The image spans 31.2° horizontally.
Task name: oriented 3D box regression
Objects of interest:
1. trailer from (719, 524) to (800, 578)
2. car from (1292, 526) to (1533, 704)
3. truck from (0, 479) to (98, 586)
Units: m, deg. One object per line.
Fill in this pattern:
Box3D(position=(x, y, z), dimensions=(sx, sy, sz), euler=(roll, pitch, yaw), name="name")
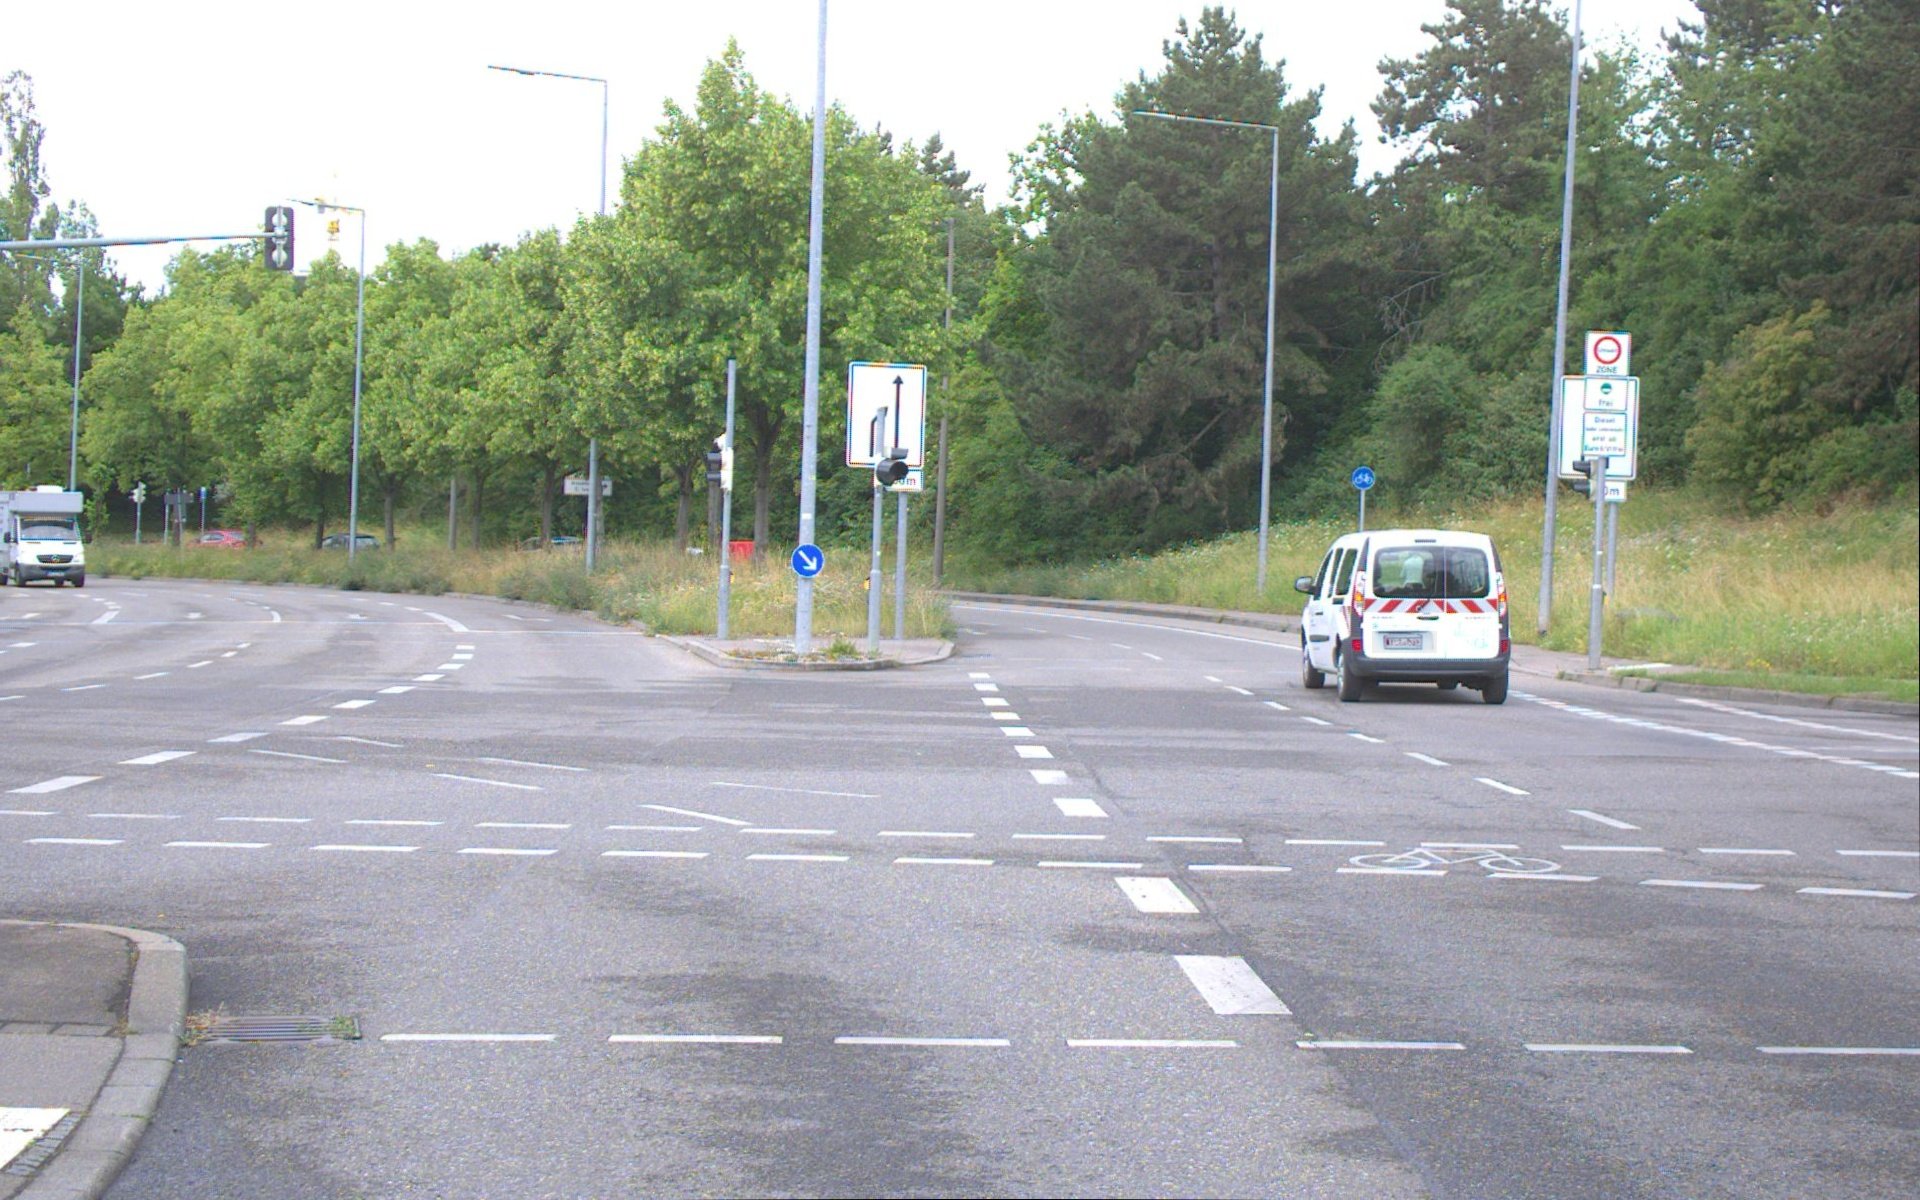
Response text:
Box3D(position=(-6.143, -1.516, 105.110), dimensions=(1.764, 1.610, 3.045), euler=(0, 1, -17), name="trailer")
Box3D(position=(4.832, 0.130, 37.343), dimensions=(1.994, 1.796, 4.839), euler=(0, 0, 0), name="car")
Box3D(position=(-28.164, -2.045, 104.876), dimensions=(2.115, 3.124, 5.900), euler=(1, 1, -30), name="truck")
